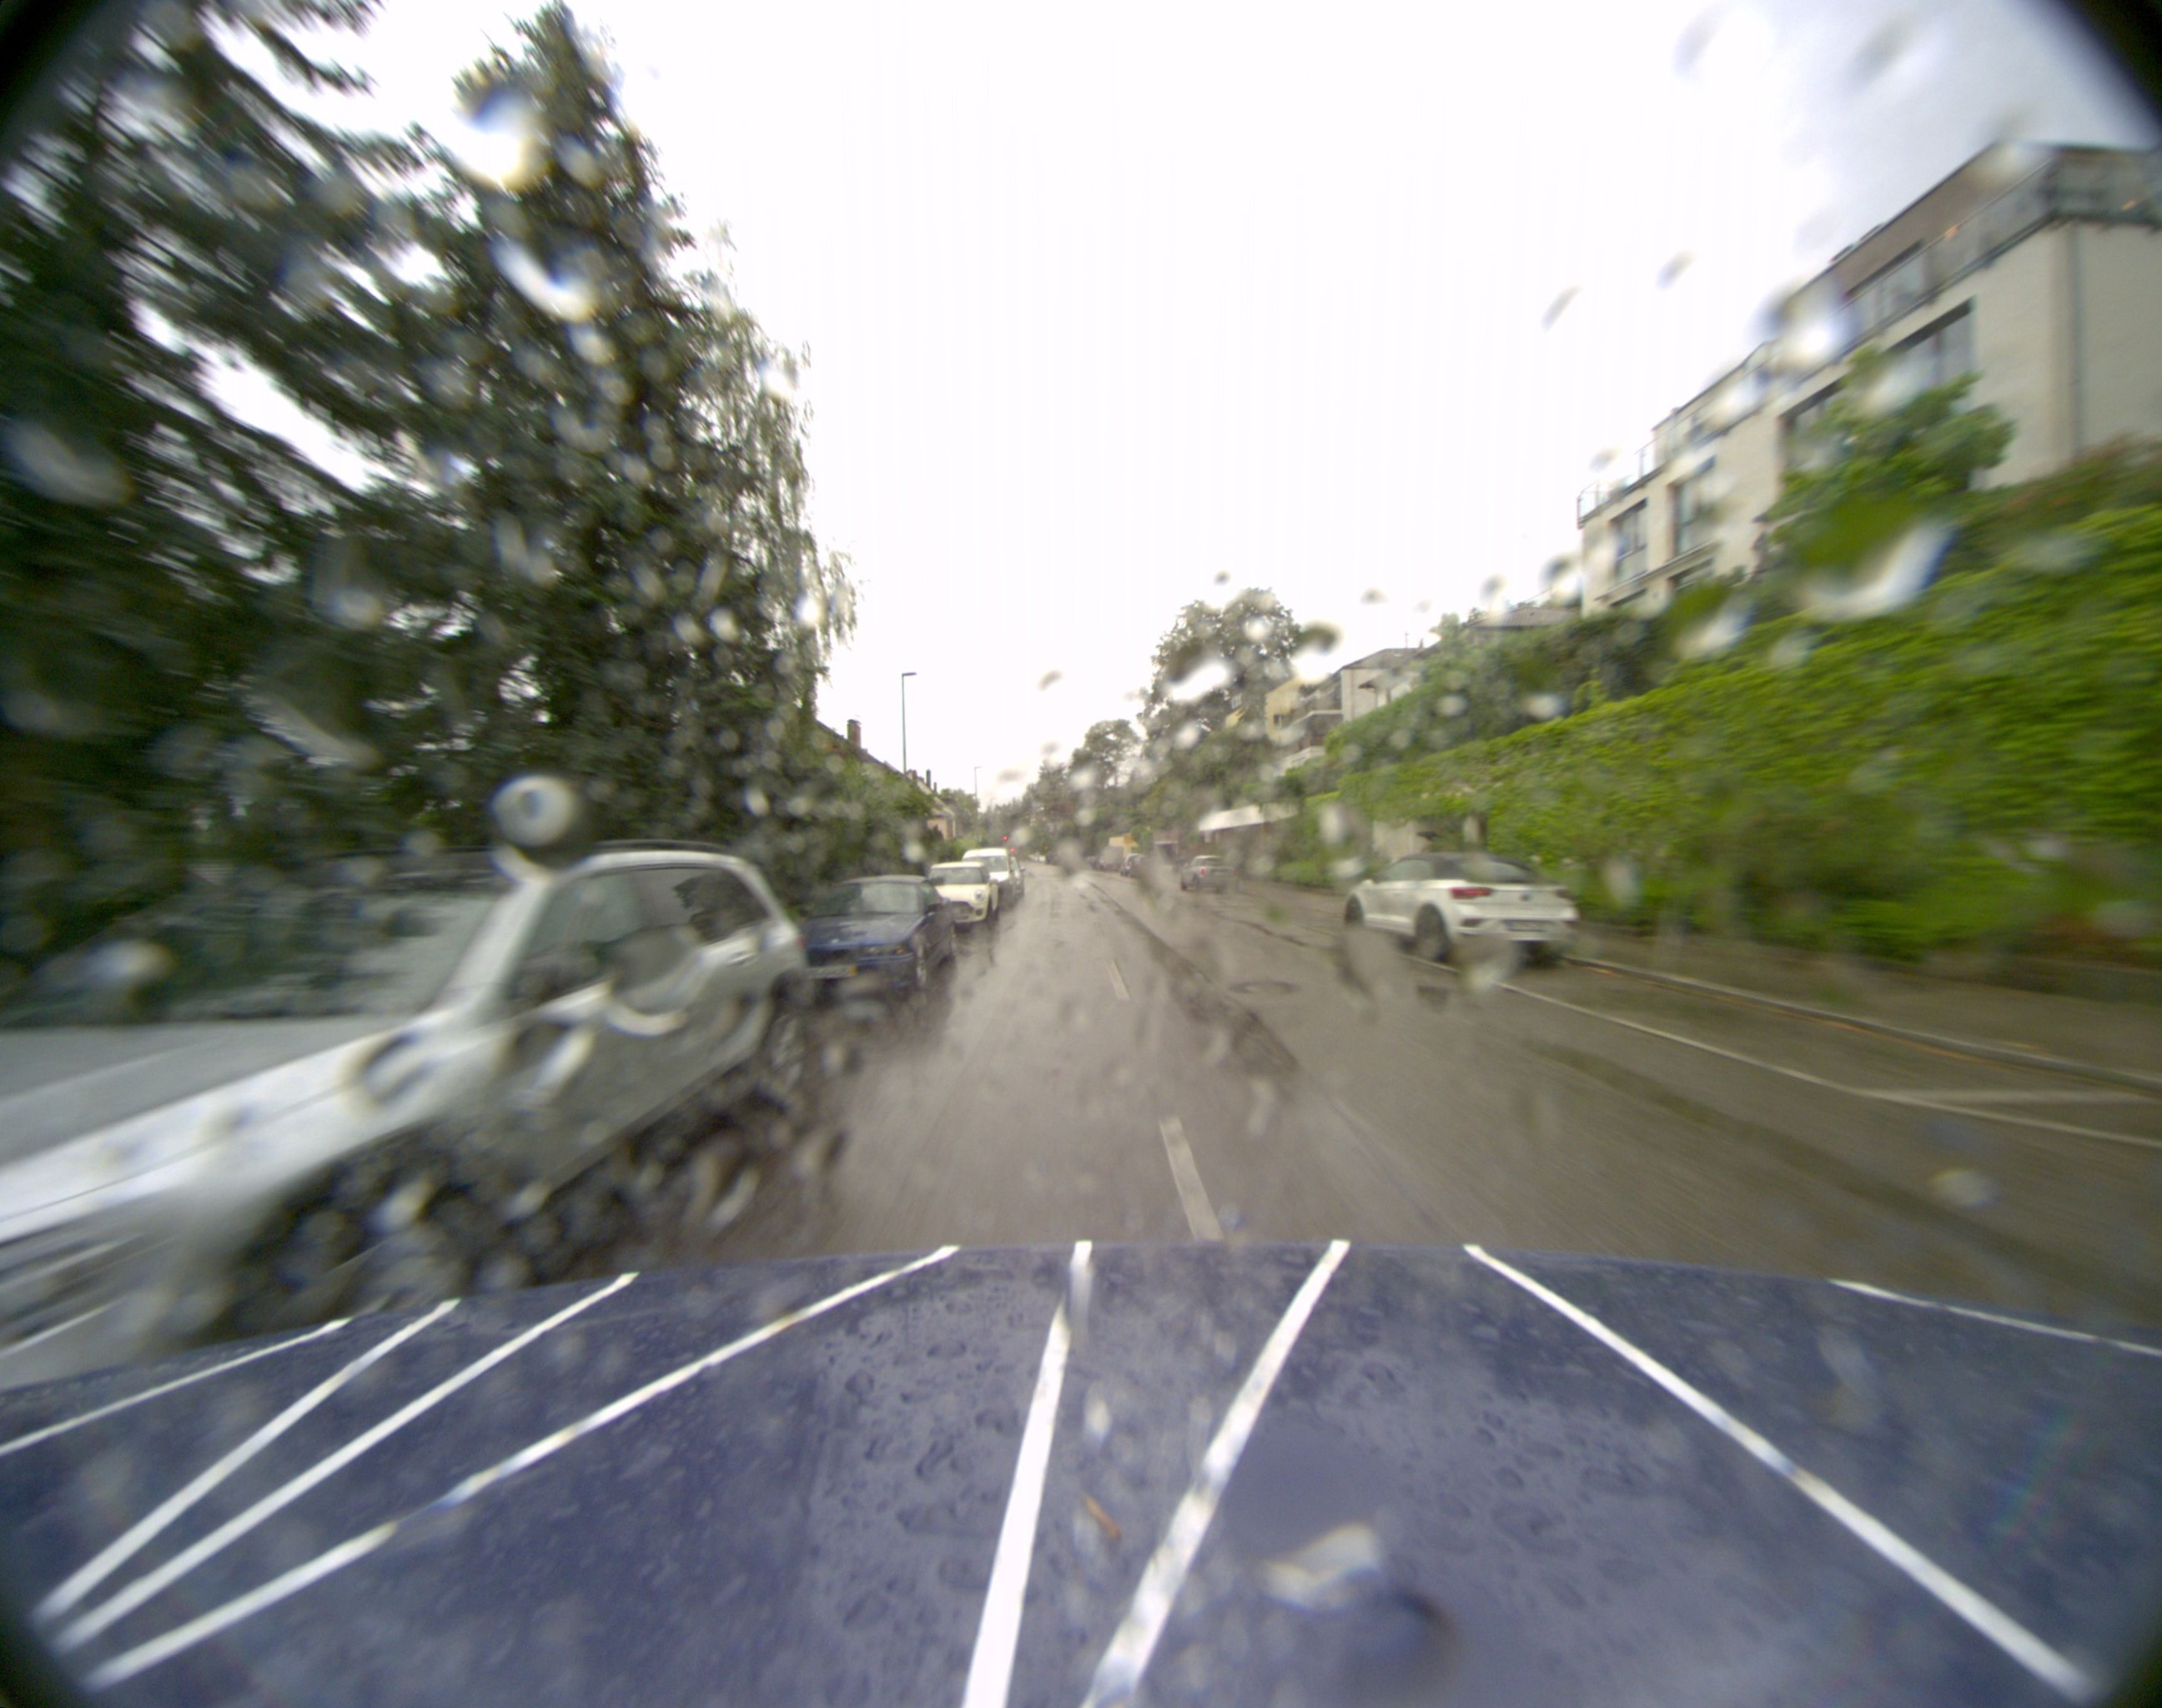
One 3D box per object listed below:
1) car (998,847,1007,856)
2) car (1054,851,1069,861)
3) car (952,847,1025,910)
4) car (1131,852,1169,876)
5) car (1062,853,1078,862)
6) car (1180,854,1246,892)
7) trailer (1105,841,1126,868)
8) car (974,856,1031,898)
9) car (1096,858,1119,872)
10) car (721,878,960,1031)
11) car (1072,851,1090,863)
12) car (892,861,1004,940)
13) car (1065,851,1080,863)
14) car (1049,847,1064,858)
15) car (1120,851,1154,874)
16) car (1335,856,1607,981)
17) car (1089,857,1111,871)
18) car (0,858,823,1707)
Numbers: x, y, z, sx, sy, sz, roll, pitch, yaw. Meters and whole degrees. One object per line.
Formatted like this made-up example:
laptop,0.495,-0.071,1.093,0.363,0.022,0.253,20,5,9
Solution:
car,-24.039,-0.803,233.767,2.087,2.464,4.847,1,0,-13
car,-3.250,0.348,125.111,1.914,1.472,4.751,1,1,-7
car,-2.881,0.693,24.483,1.789,1.780,4.360,-2,1,-1
car,4.310,0.621,48.016,1.761,1.401,3.703,2,0,-4
car,-1.645,0.524,114.070,1.722,1.357,4.080,1,-1,-10
car,5.259,0.713,30.751,1.761,1.394,3.768,1,0,-4
trailer,3.093,0.067,68.369,1.541,2.385,3.072,1,0,-2
car,-2.987,0.843,29.849,1.794,1.451,4.307,-2,1,-1
car,2.526,1.058,73.330,1.814,1.341,3.774,0,0,-6
car,-2.715,1.058,9.702,1.635,1.274,4.446,-2,1,-1
car,0.005,0.398,102.846,1.880,1.616,4.590,2,0,-7
car,-2.764,0.910,16.654,1.713,1.395,4.202,-2,1,-1
car,-1.186,0.426,109.151,1.747,1.552,4.106,1,0,-6
car,-4.397,-0.203,135.565,2.165,1.908,5.318,0,1,-8
car,3.920,0.564,53.584,1.761,1.530,3.755,2,0,-4
car,5.542,0.799,11.517,1.761,1.489,4.218,0,1,-3
car,1.986,1.030,80.357,1.791,1.407,4.215,0,0,-6
car,-2.693,0.897,3.012,1.820,1.636,4.394,-2,1,-1
